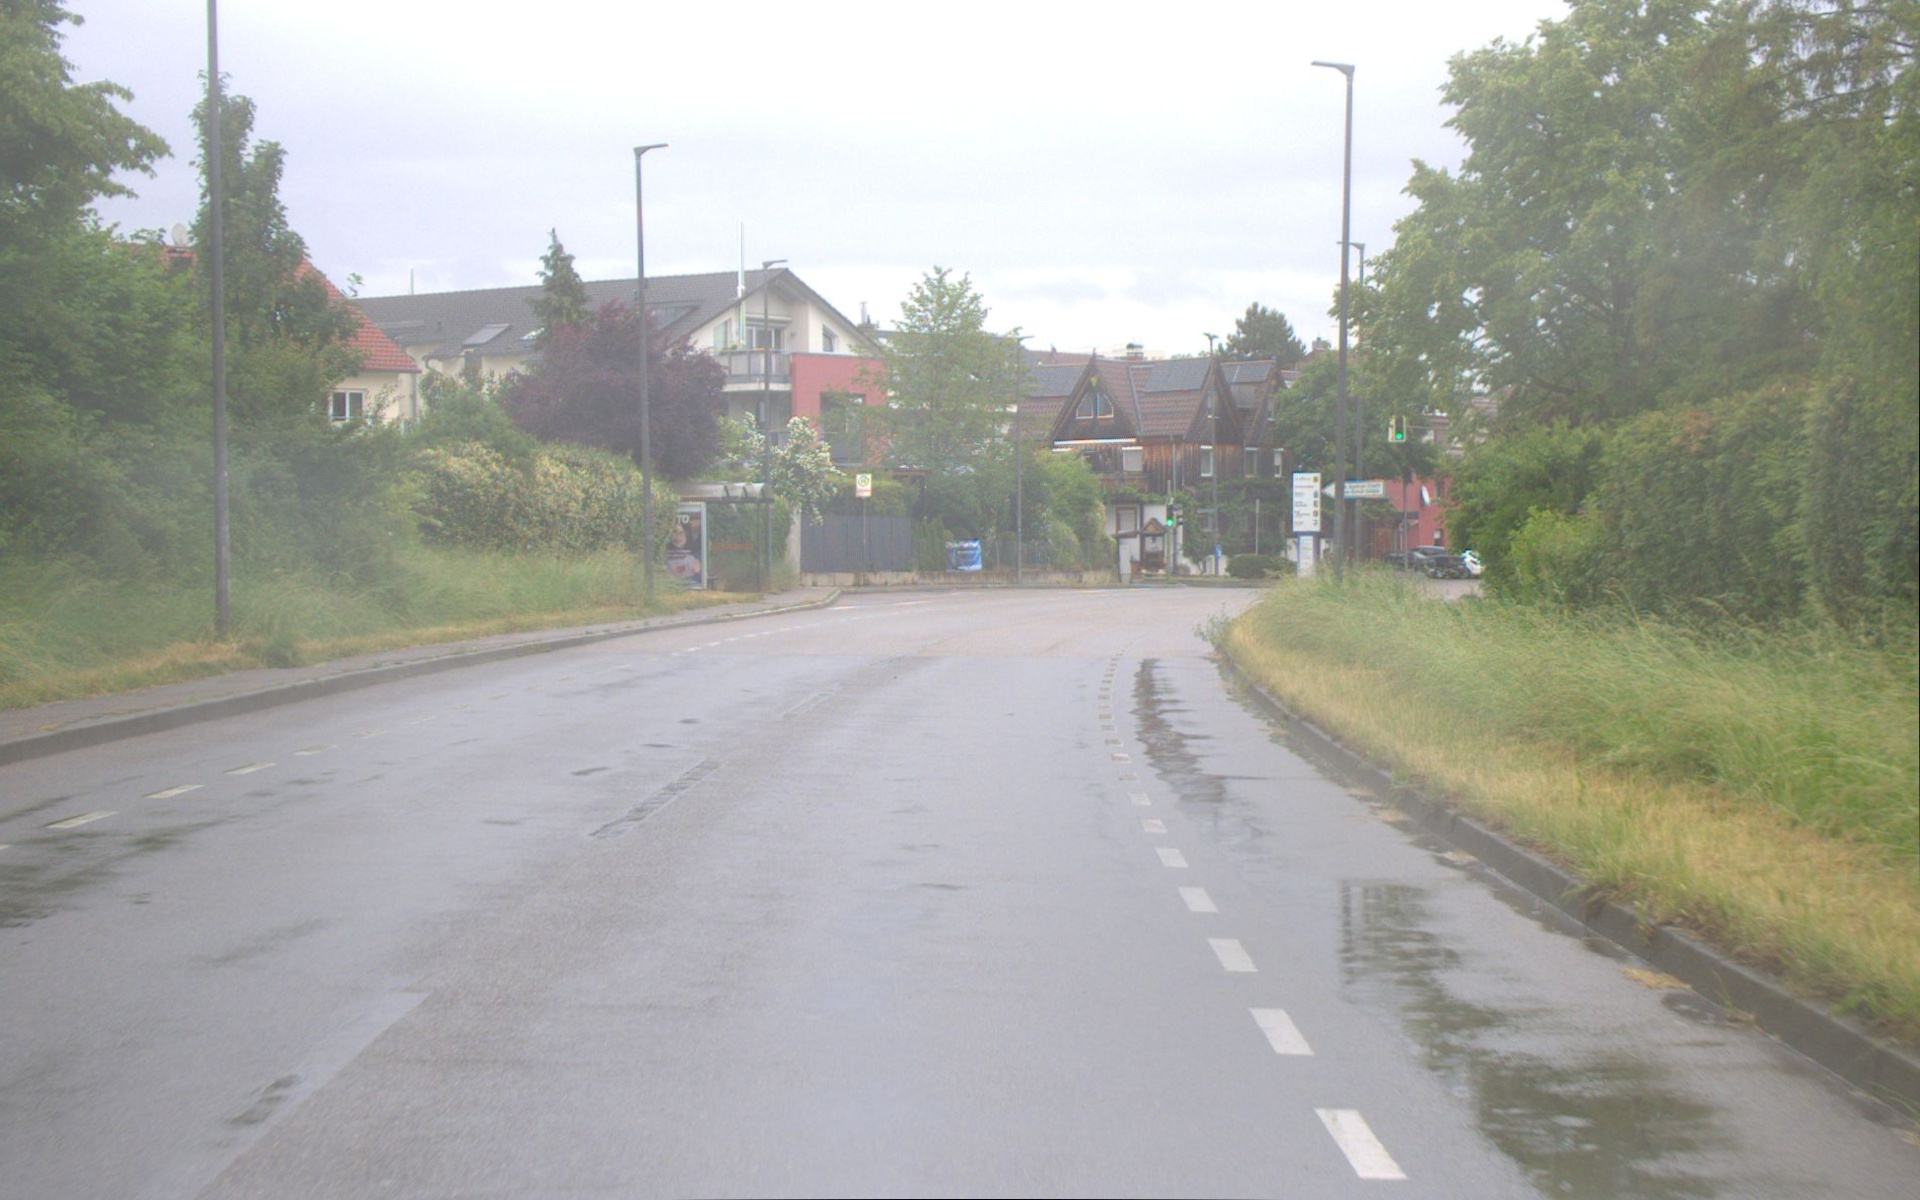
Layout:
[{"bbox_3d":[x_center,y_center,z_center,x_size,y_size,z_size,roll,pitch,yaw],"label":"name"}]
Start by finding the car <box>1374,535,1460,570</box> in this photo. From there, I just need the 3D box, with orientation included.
[{"bbox_3d":[21.689,-2.235,163.155,3.584,1.501,1.851,4,3,37],"label":"car"}]
